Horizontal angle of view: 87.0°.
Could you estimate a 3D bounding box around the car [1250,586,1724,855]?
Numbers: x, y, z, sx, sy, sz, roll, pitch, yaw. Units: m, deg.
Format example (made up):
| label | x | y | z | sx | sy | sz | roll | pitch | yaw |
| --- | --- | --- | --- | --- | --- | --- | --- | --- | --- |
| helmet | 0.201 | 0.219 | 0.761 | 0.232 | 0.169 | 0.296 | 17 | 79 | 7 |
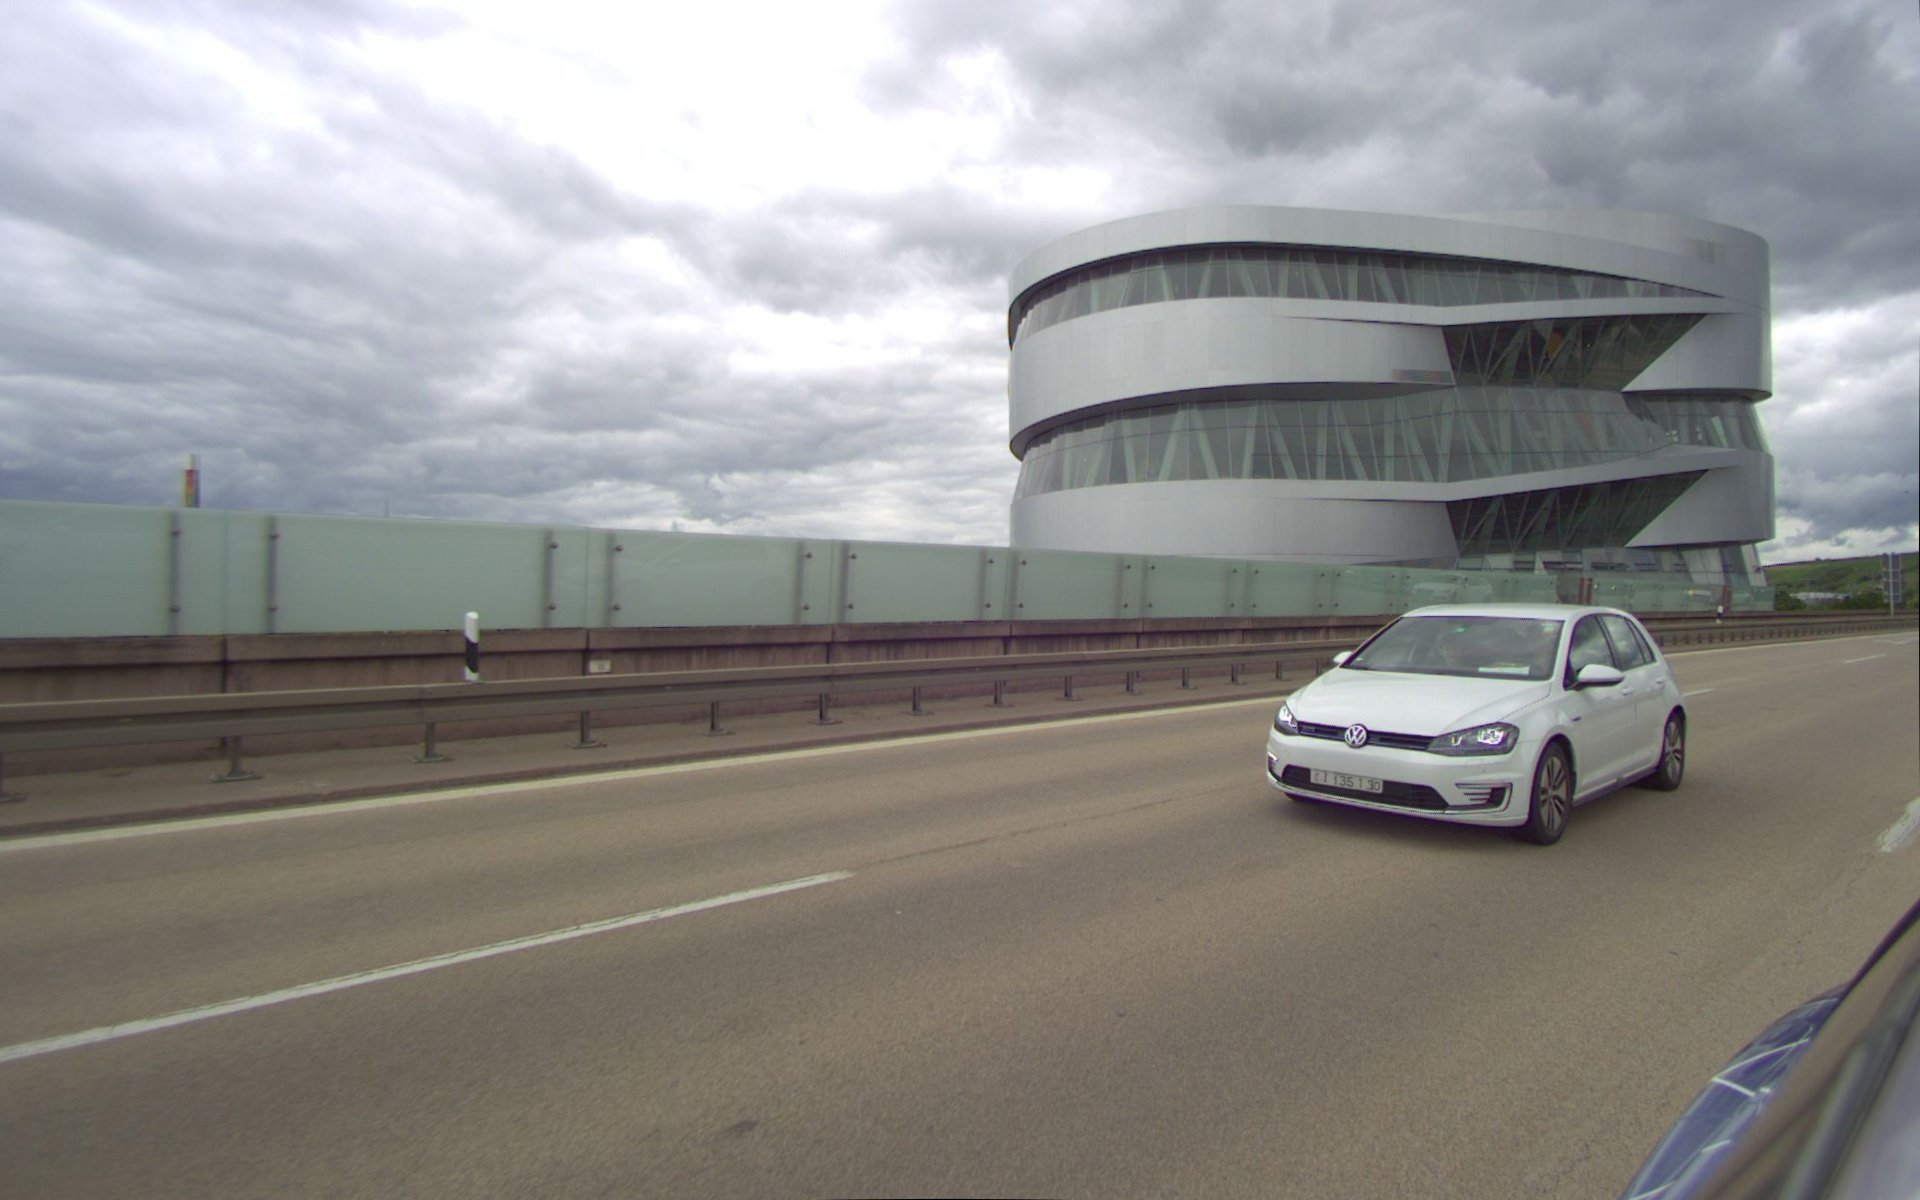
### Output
| label | x | y | z | sx | sy | sz | roll | pitch | yaw |
| --- | --- | --- | --- | --- | --- | --- | --- | --- | --- |
| car | 4.073 | 0.654 | 7.537 | 4.000 | 1.470 | 1.758 | 0 | 1 | -40 |
